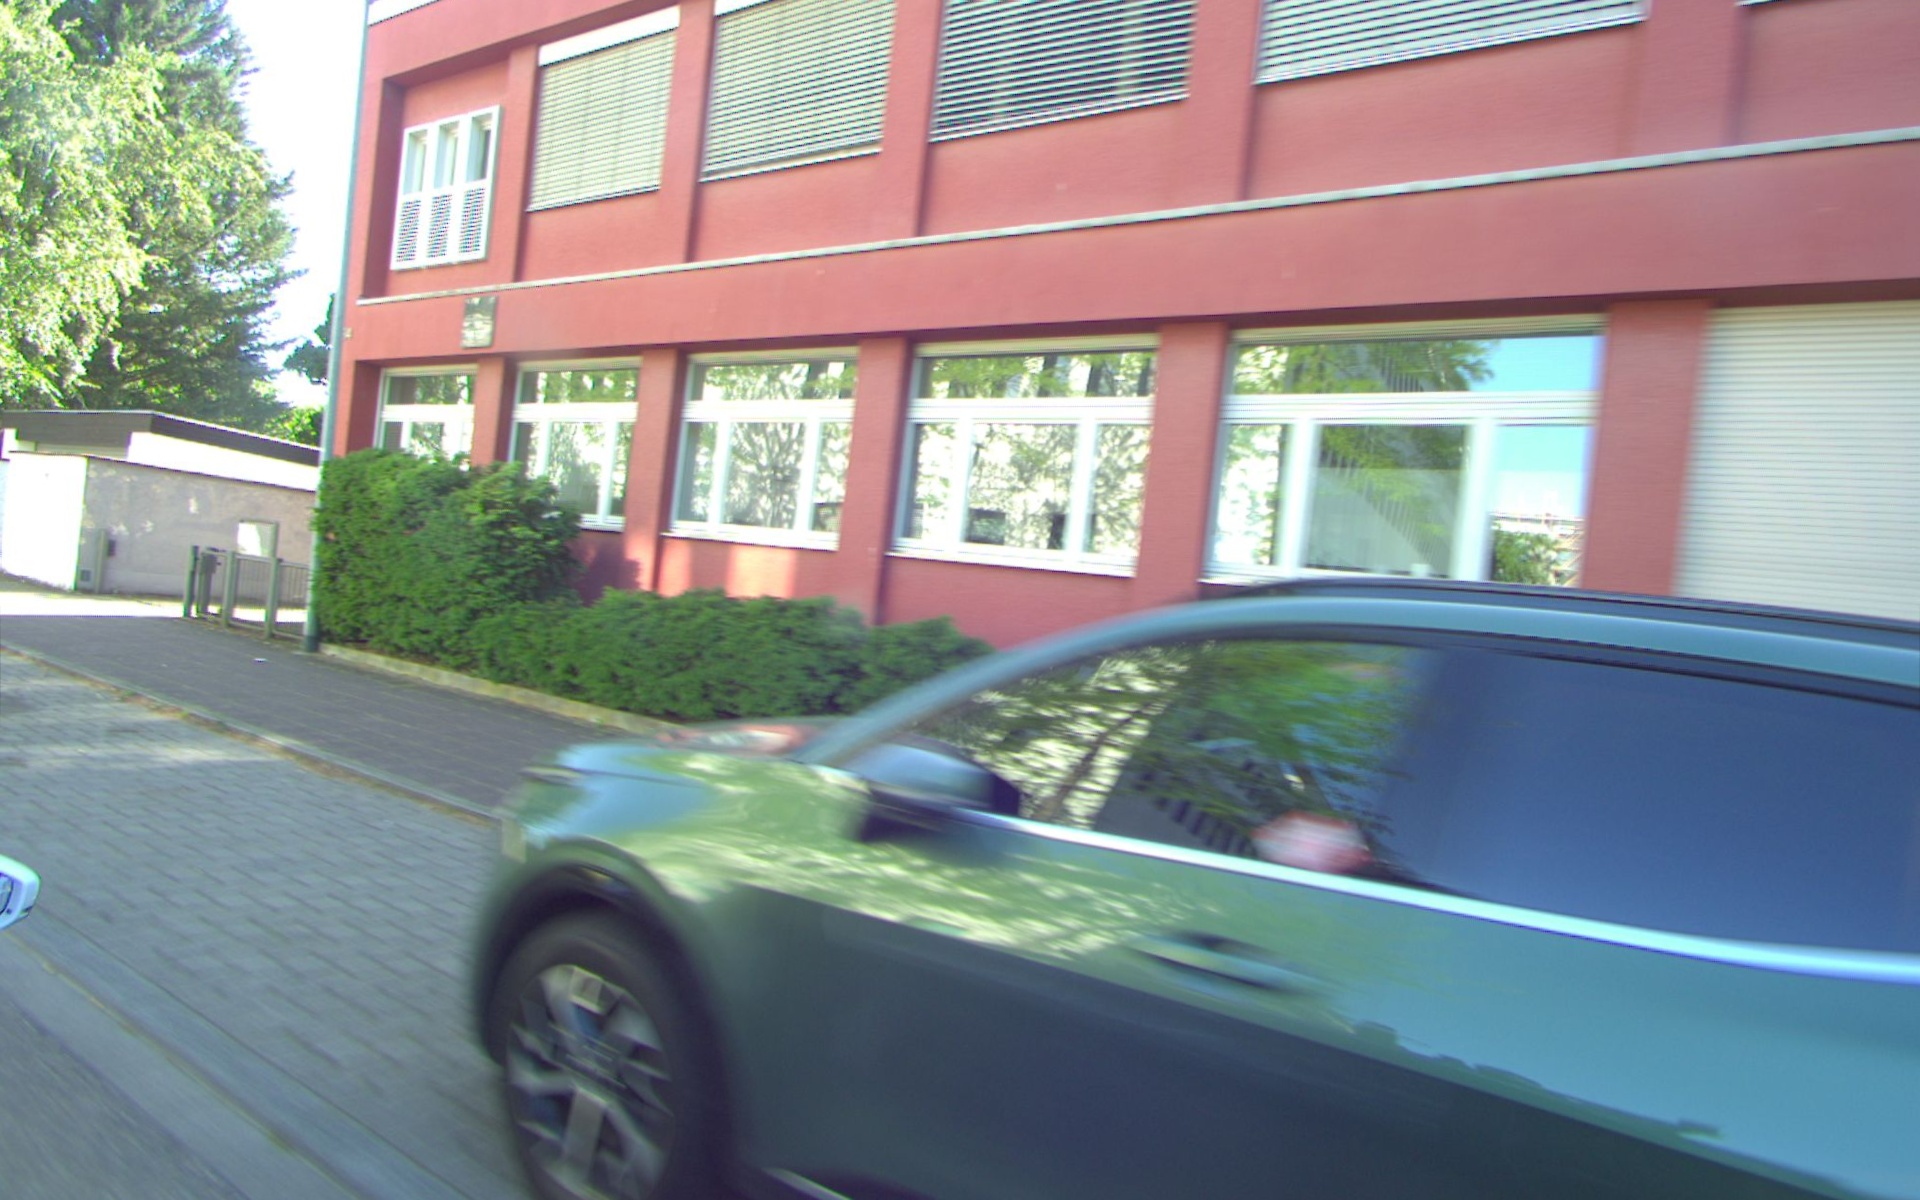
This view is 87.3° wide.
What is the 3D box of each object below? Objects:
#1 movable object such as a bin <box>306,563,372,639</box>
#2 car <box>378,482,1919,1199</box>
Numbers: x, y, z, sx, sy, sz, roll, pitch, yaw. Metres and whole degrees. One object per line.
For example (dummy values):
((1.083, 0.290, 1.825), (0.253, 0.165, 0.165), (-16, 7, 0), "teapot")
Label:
((-8.080, 0.018, 13.092), (0.467, 0.911, 0.477), (7, -1, 32), "movable object such as a bin")
((0.919, 0.794, 2.200), (4.300, 1.650, 1.900), (7, 0, 32), "car")
